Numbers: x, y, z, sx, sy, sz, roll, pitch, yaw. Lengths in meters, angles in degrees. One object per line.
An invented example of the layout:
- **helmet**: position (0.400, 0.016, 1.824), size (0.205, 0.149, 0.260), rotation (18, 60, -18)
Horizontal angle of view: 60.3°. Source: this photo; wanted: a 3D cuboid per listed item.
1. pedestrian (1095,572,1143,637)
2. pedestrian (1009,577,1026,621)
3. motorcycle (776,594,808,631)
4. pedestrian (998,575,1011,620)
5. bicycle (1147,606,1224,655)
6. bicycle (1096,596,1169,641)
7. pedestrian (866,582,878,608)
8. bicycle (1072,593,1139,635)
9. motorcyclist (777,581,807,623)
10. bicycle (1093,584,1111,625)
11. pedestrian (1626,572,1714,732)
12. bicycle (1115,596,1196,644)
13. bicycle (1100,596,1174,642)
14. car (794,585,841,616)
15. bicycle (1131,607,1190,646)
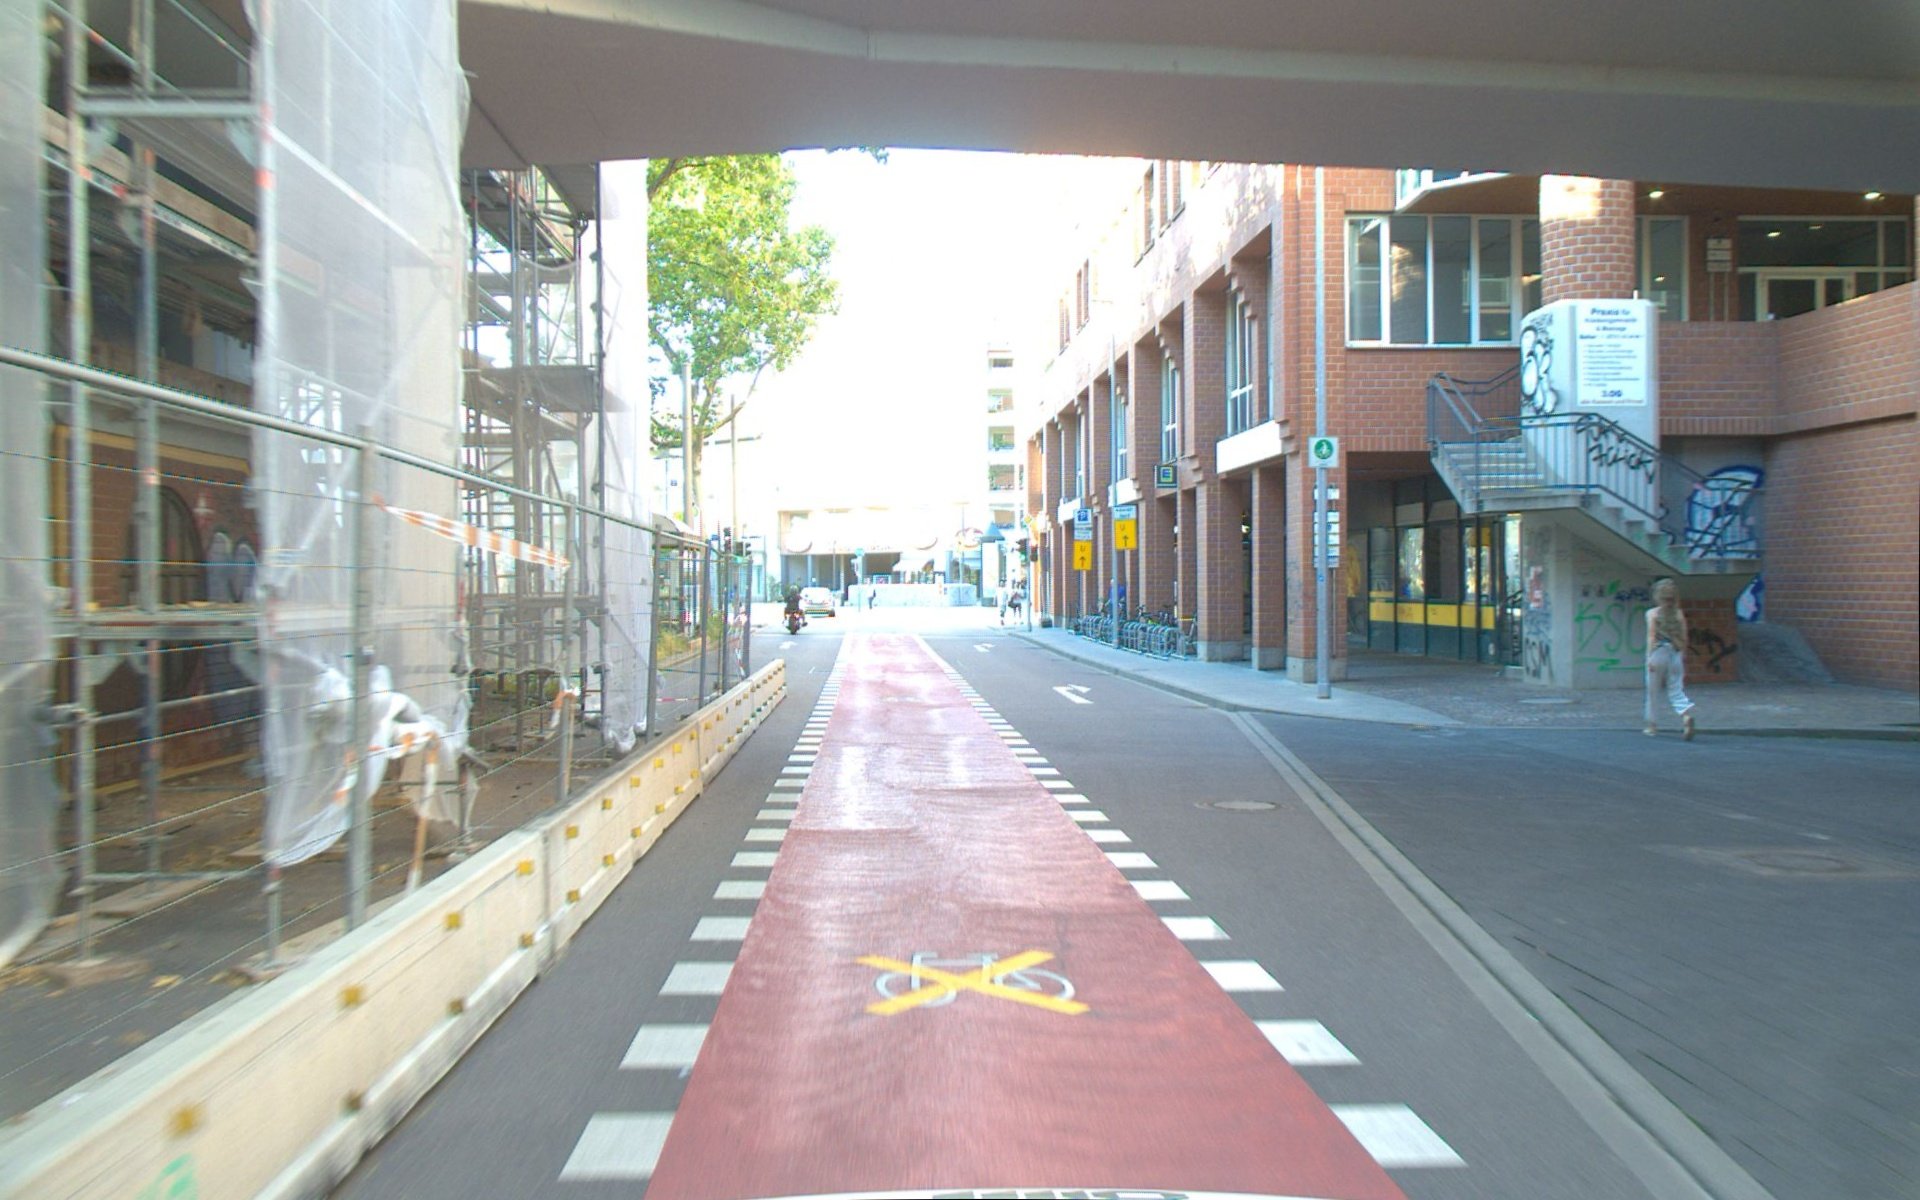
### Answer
- **pedestrian**: position (4.418, 0.129, 46.027), size (1.170, 1.726, 0.885), rotation (-3, 1, -1)
- **pedestrian**: position (2.340, -0.045, 67.392), size (0.621, 1.755, 0.630), rotation (-1, 1, -4)
- **motorcycle**: position (-5.625, 0.404, 55.453), size (0.954, 1.151, 2.803), rotation (0, 1, -4)
- **pedestrian**: position (1.818, -0.118, 67.409), size (0.466, 1.824, 0.540), rotation (-1, 1, -4)
- **bicycle**: position (5.015, 0.667, 36.800), size (1.579, 0.971, 0.555), rotation (-4, 1, -2)
- **bicycle**: position (4.617, 0.485, 44.268), size (1.854, 1.138, 0.474), rotation (-2, 1, -4)
- **pedestrian**: position (-5.514, -0.334, 103.901), size (0.547, 1.611, 0.537), rotation (0, 1, 44)
- **bicycle**: position (4.199, 0.403, 47.784), size (1.854, 1.138, 0.474), rotation (-2, 1, -4)
- **motorcyclist**: position (-5.636, 0.067, 55.469), size (0.951, 1.370, 1.137), rotation (0, 0, -4)
- **bicycle**: position (4.387, 0.131, 51.221), size (0.333, 1.204, 1.678), rotation (-1, 1, -2)
- **pedestrian**: position (7.576, 0.538, 17.671), size (0.558, 1.661, 0.777), rotation (0, 0, -5)
- **bicycle**: position (4.837, 0.498, 41.032), size (1.893, 1.075, 0.572), rotation (-3, 1, 0)
- **bicycle**: position (4.670, 0.504, 43.662), size (1.854, 1.138, 0.550), rotation (-2, 1, -4)
- **car**: position (-6.969, -0.009, 80.589), size (1.889, 1.413, 3.990), rotation (-1, 1, -11)
- **bicycle**: position (4.801, 0.630, 39.542), size (1.307, 0.856, 0.424), rotation (-4, 1, -2)
